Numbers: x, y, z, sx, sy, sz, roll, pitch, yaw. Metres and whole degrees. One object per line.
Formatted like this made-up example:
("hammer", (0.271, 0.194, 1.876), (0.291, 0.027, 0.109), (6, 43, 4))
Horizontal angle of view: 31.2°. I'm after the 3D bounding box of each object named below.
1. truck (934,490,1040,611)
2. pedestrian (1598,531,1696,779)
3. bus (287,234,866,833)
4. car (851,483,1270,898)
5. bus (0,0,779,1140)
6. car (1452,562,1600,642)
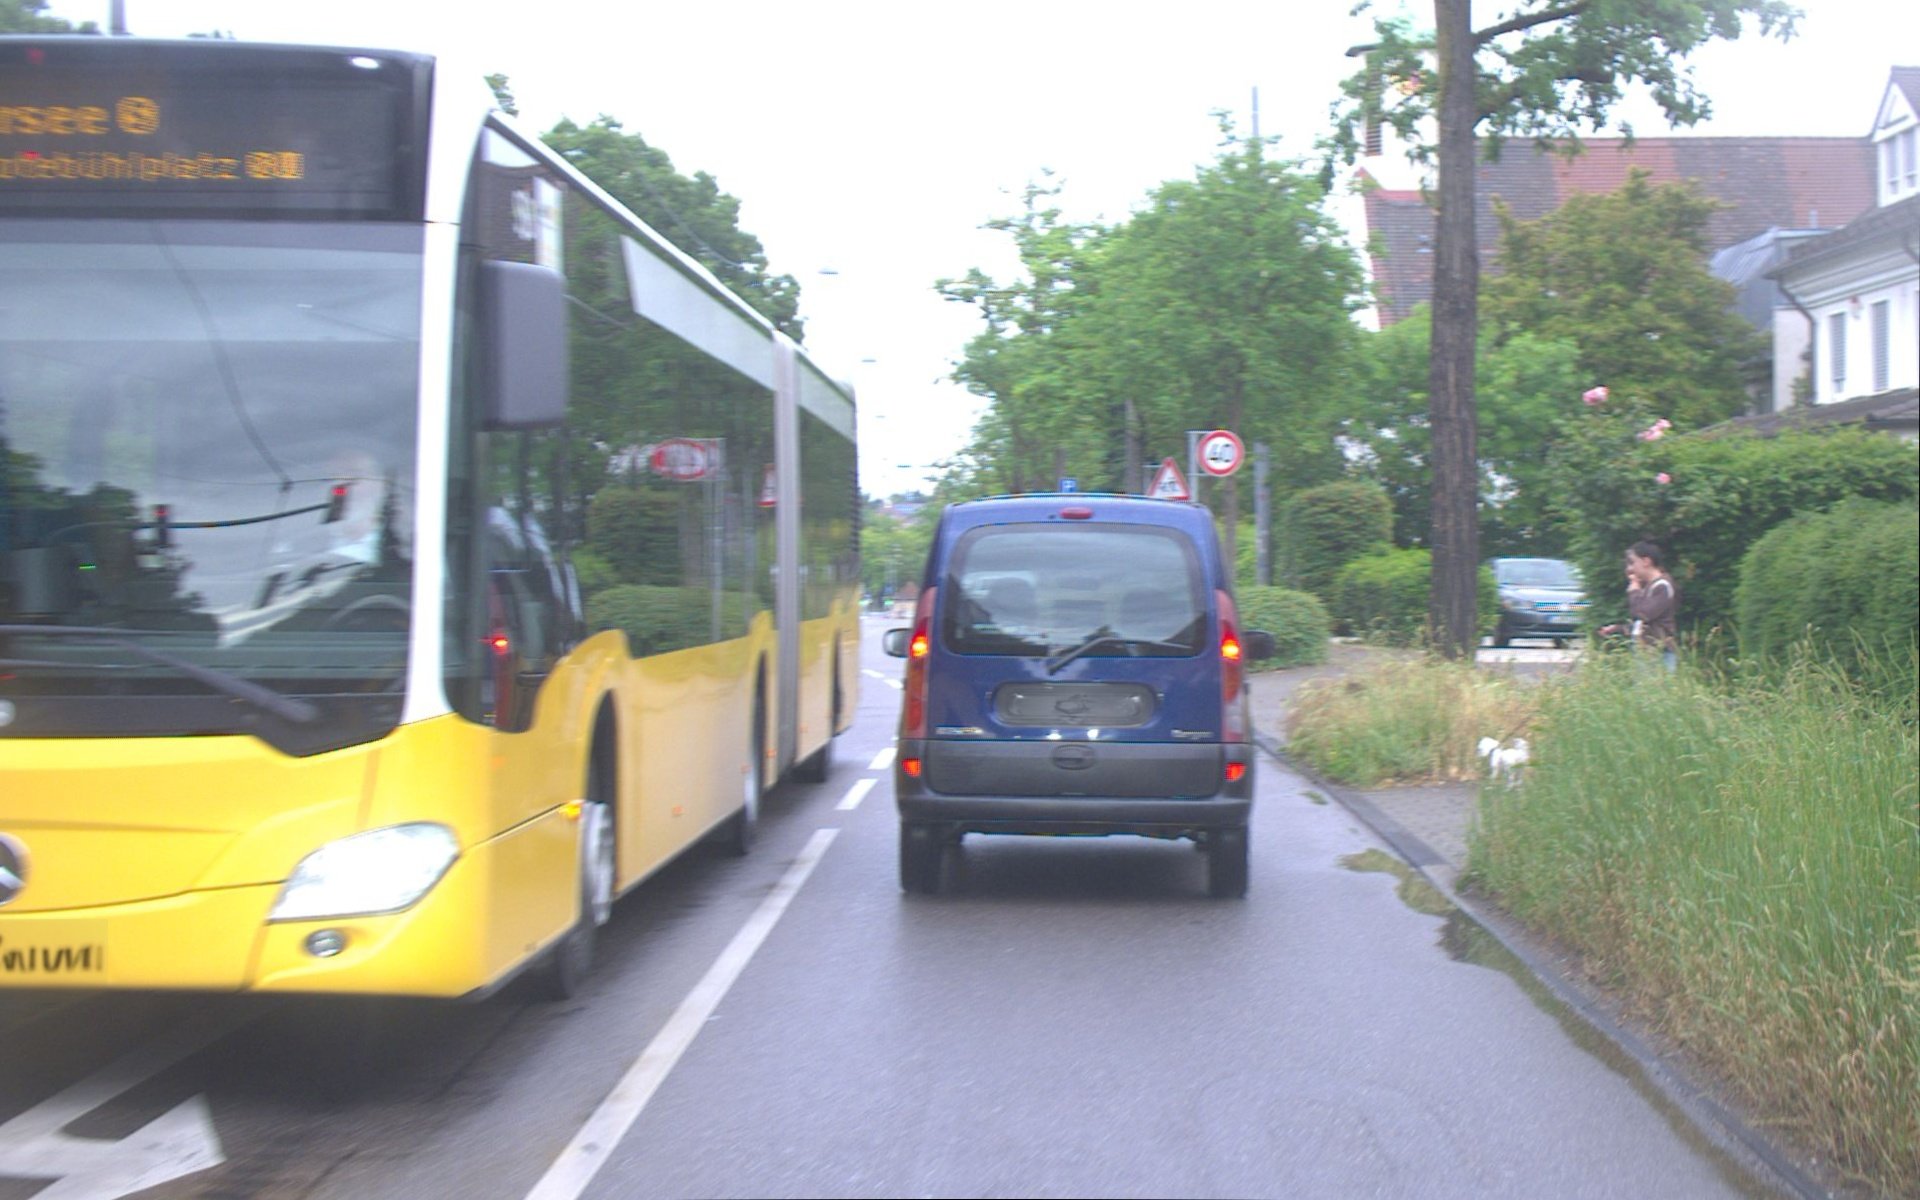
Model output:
("truck", (0.736, -1.431, 99.891), (2.731, 3.375, 6.686), (0, 1, -2))
("pedestrian", (4.293, 0.339, 21.495), (0.481, 1.529, 0.439), (1, 1, -2))
("bus", (-2.167, -0.402, 22.621), (2.595, 3.147, 8.635), (1, 1, 1))
("car", (0.461, 0.372, 16.906), (1.809, 1.791, 4.000), (0, 1, 1))
("bus", (-2.419, -0.171, 13.655), (2.643, 3.034, 9.230), (1, 1, 1))
("car", (8.883, 0.006, 54.198), (1.832, 1.172, 4.000), (1, 1, 3))
